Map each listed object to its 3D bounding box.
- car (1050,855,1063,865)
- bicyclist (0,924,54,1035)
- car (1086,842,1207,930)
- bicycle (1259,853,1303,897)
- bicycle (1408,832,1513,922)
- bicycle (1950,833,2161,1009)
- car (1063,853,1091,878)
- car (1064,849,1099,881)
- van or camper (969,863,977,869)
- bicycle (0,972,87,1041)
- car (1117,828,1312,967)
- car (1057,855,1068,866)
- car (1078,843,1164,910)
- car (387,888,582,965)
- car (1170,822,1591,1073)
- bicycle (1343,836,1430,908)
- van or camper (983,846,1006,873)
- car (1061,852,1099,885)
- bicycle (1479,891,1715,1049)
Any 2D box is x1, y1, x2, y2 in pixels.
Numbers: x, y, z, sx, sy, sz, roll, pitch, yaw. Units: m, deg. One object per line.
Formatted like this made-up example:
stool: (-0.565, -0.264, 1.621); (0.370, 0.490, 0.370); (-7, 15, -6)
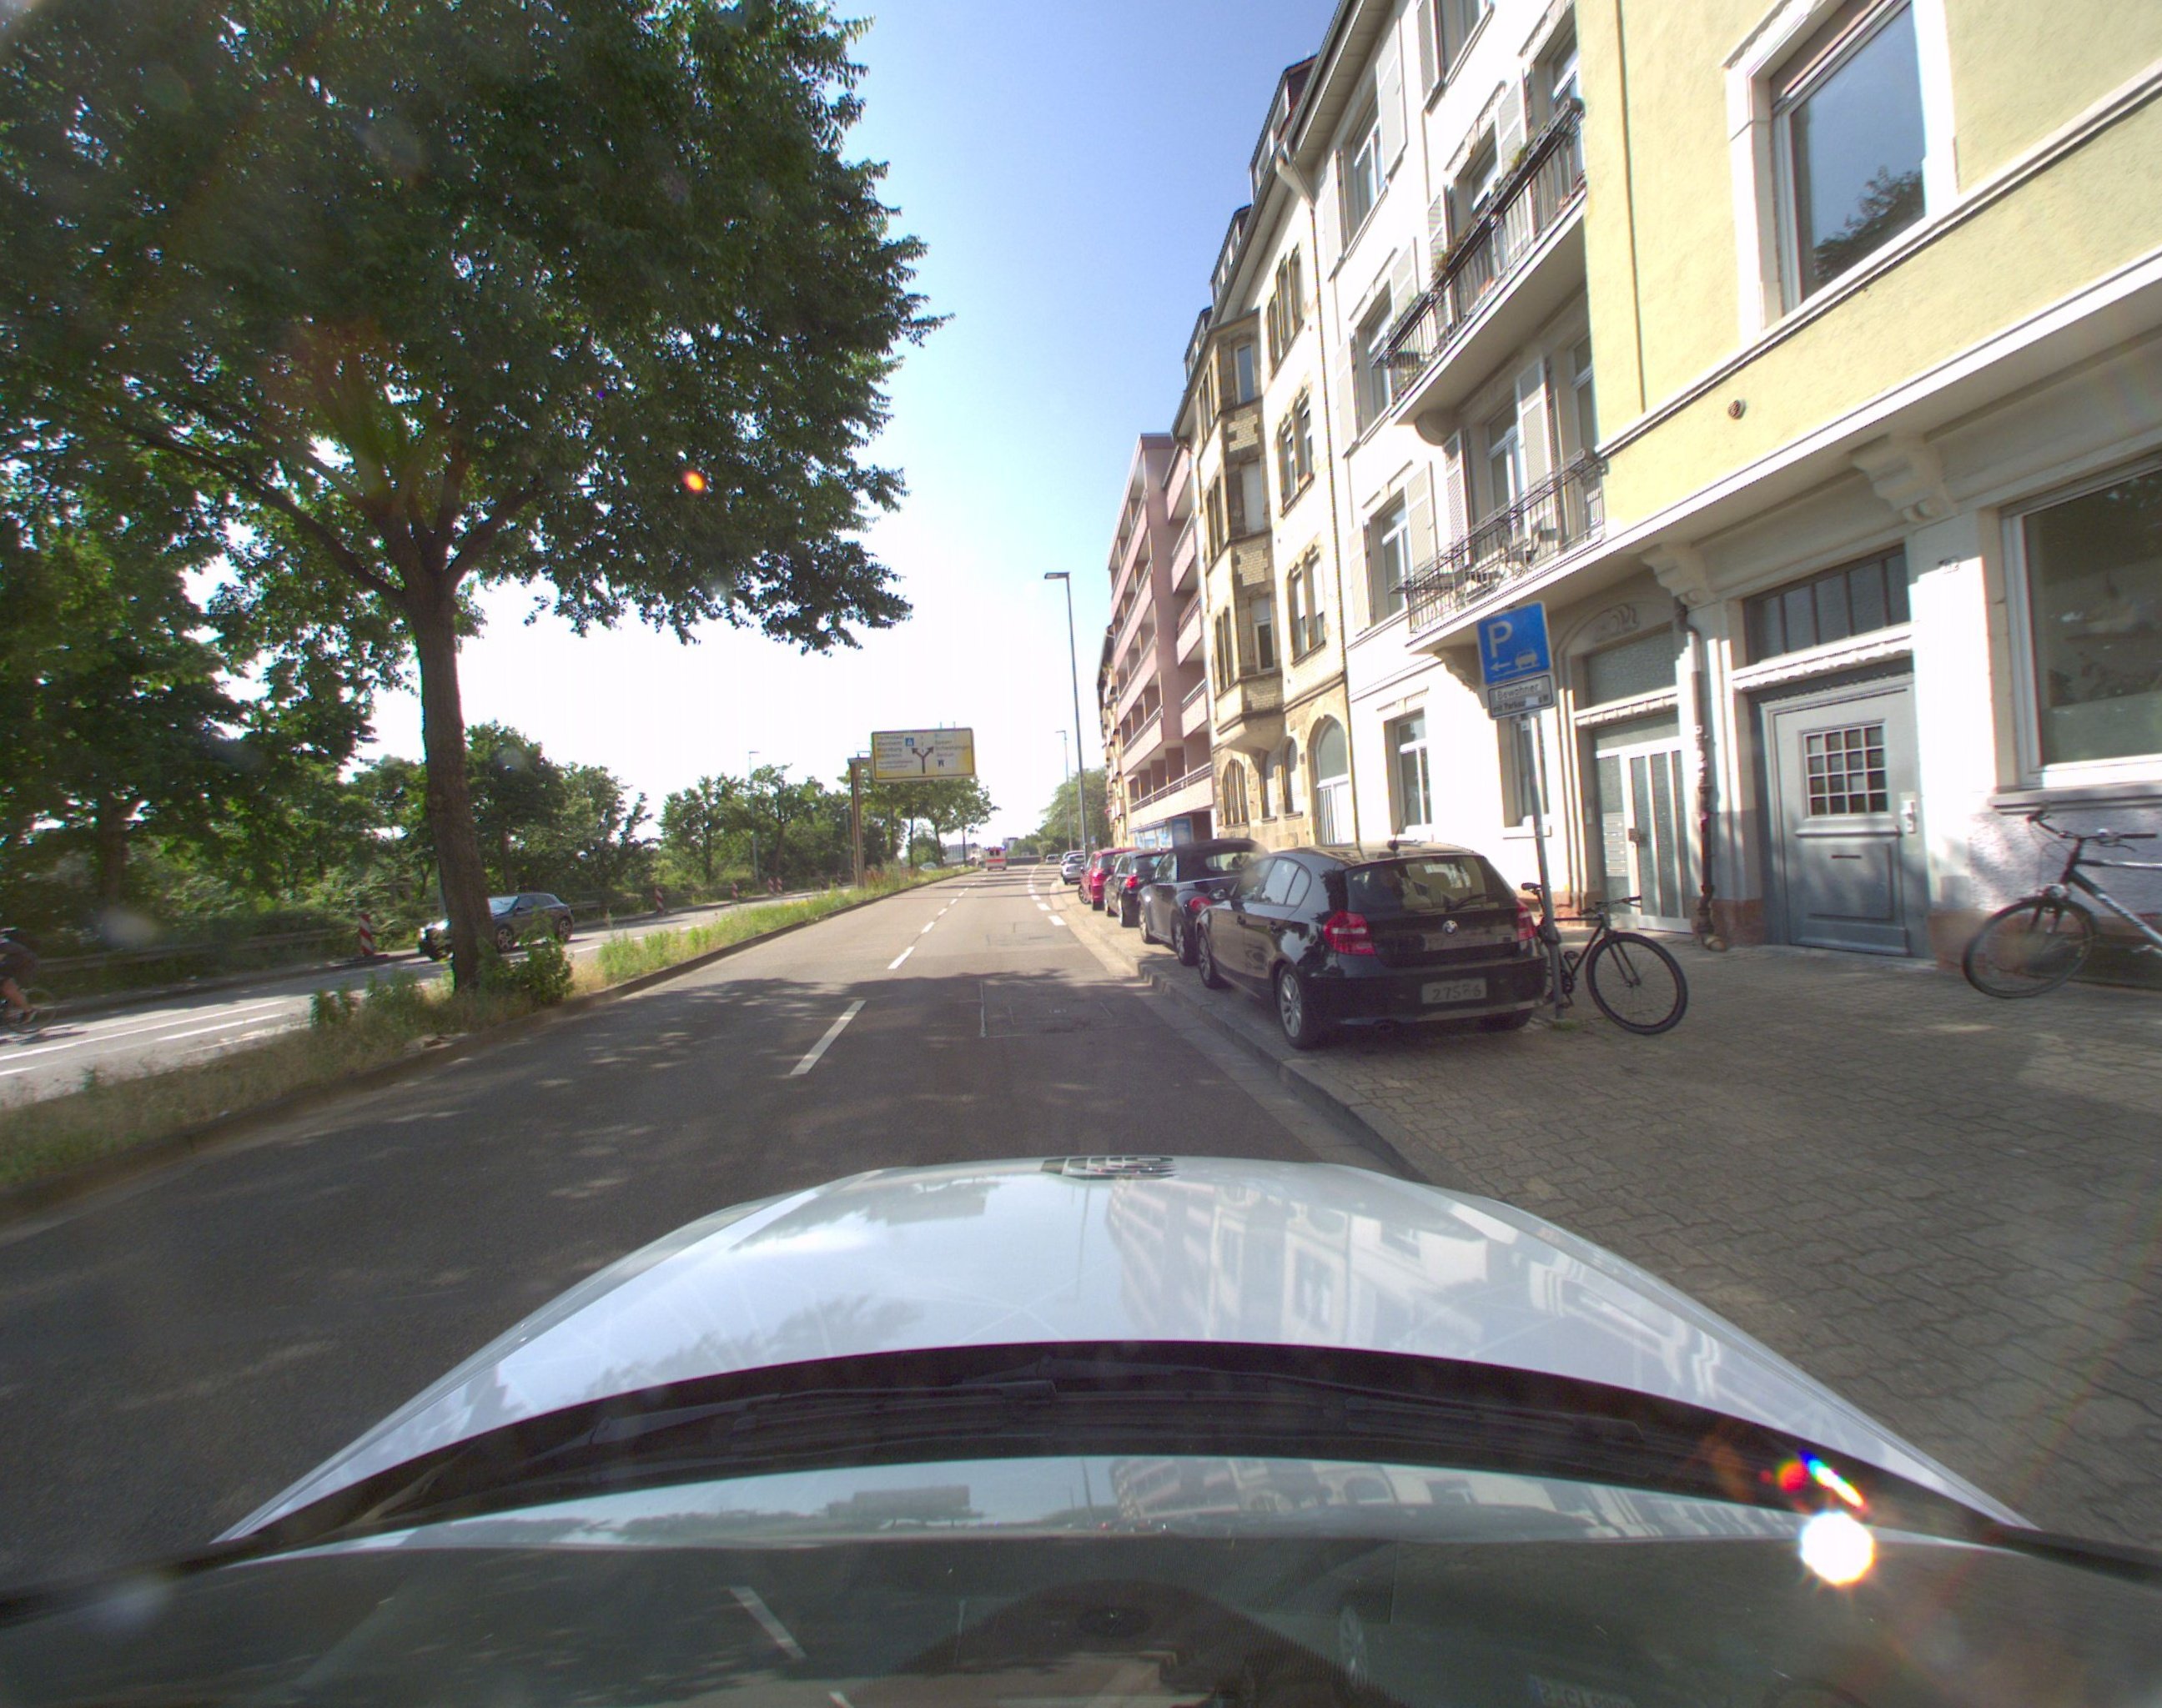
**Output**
car: (-3.823, 0.922, 125.982); (1.613, 1.505, 3.464); (-3, 0, 3)
bicyclist: (-15.746, 1.833, 11.834); (0.572, 1.534, 0.778); (-4, 0, -3)
car: (1.192, 0.583, 16.673); (1.640, 1.453, 4.117); (-4, 0, -6)
bicycle: (4.798, 0.495, 19.658); (0.506, 0.970, 1.650); (-4, 0, -3)
bicycle: (5.600, 0.294, 12.130); (0.565, 1.180, 1.622); (-6, 3, -8)
bicycle: (6.356, 0.371, 4.508); (0.607, 0.945, 2.109); (-6, 0, -7)
car: (-0.303, 0.772, 54.702); (1.751, 1.506, 4.125); (-3, 0, -1)
car: (0.015, 0.593, 44.949); (1.731, 1.541, 4.351); (-4, 0, -1)
van or camper: (-28.559, 3.200, 215.250); (1.464, 1.350, 4.625); (-3, 0, -3)
bicycle: (-15.706, 2.270, 11.771); (0.493, 0.832, 1.804); (-4, 0, -3)
car: (1.695, 0.532, 11.689); (1.640, 1.501, 4.001); (-5, 0, -6)
car: (-3.079, 1.044, 136.114); (1.766, 1.579, 4.186); (-4, 0, 0)
car: (0.972, 0.551, 21.809); (1.781, 1.482, 3.995); (-5, 0, -3)
car: (-15.990, 1.868, 22.231); (1.990, 1.528, 4.691); (-6, 0, -4)
car: (2.110, 0.589, 7.087); (1.739, 1.416, 4.072); (-4, 0, -6)
bicycle: (5.337, 0.302, 14.325); (0.654, 1.146, 1.622); (-6, 0, -8)
van or camper: (-9.863, 0.636, 93.678); (2.292, 2.789, 5.562); (-4, 0, -5)
car: (-0.039, 0.687, 40.018); (1.673, 1.408, 3.430); (-6, 0, 0)
bicycle: (3.603, 0.752, 5.857); (0.448, 0.891, 1.576); (-5, 0, -9)
